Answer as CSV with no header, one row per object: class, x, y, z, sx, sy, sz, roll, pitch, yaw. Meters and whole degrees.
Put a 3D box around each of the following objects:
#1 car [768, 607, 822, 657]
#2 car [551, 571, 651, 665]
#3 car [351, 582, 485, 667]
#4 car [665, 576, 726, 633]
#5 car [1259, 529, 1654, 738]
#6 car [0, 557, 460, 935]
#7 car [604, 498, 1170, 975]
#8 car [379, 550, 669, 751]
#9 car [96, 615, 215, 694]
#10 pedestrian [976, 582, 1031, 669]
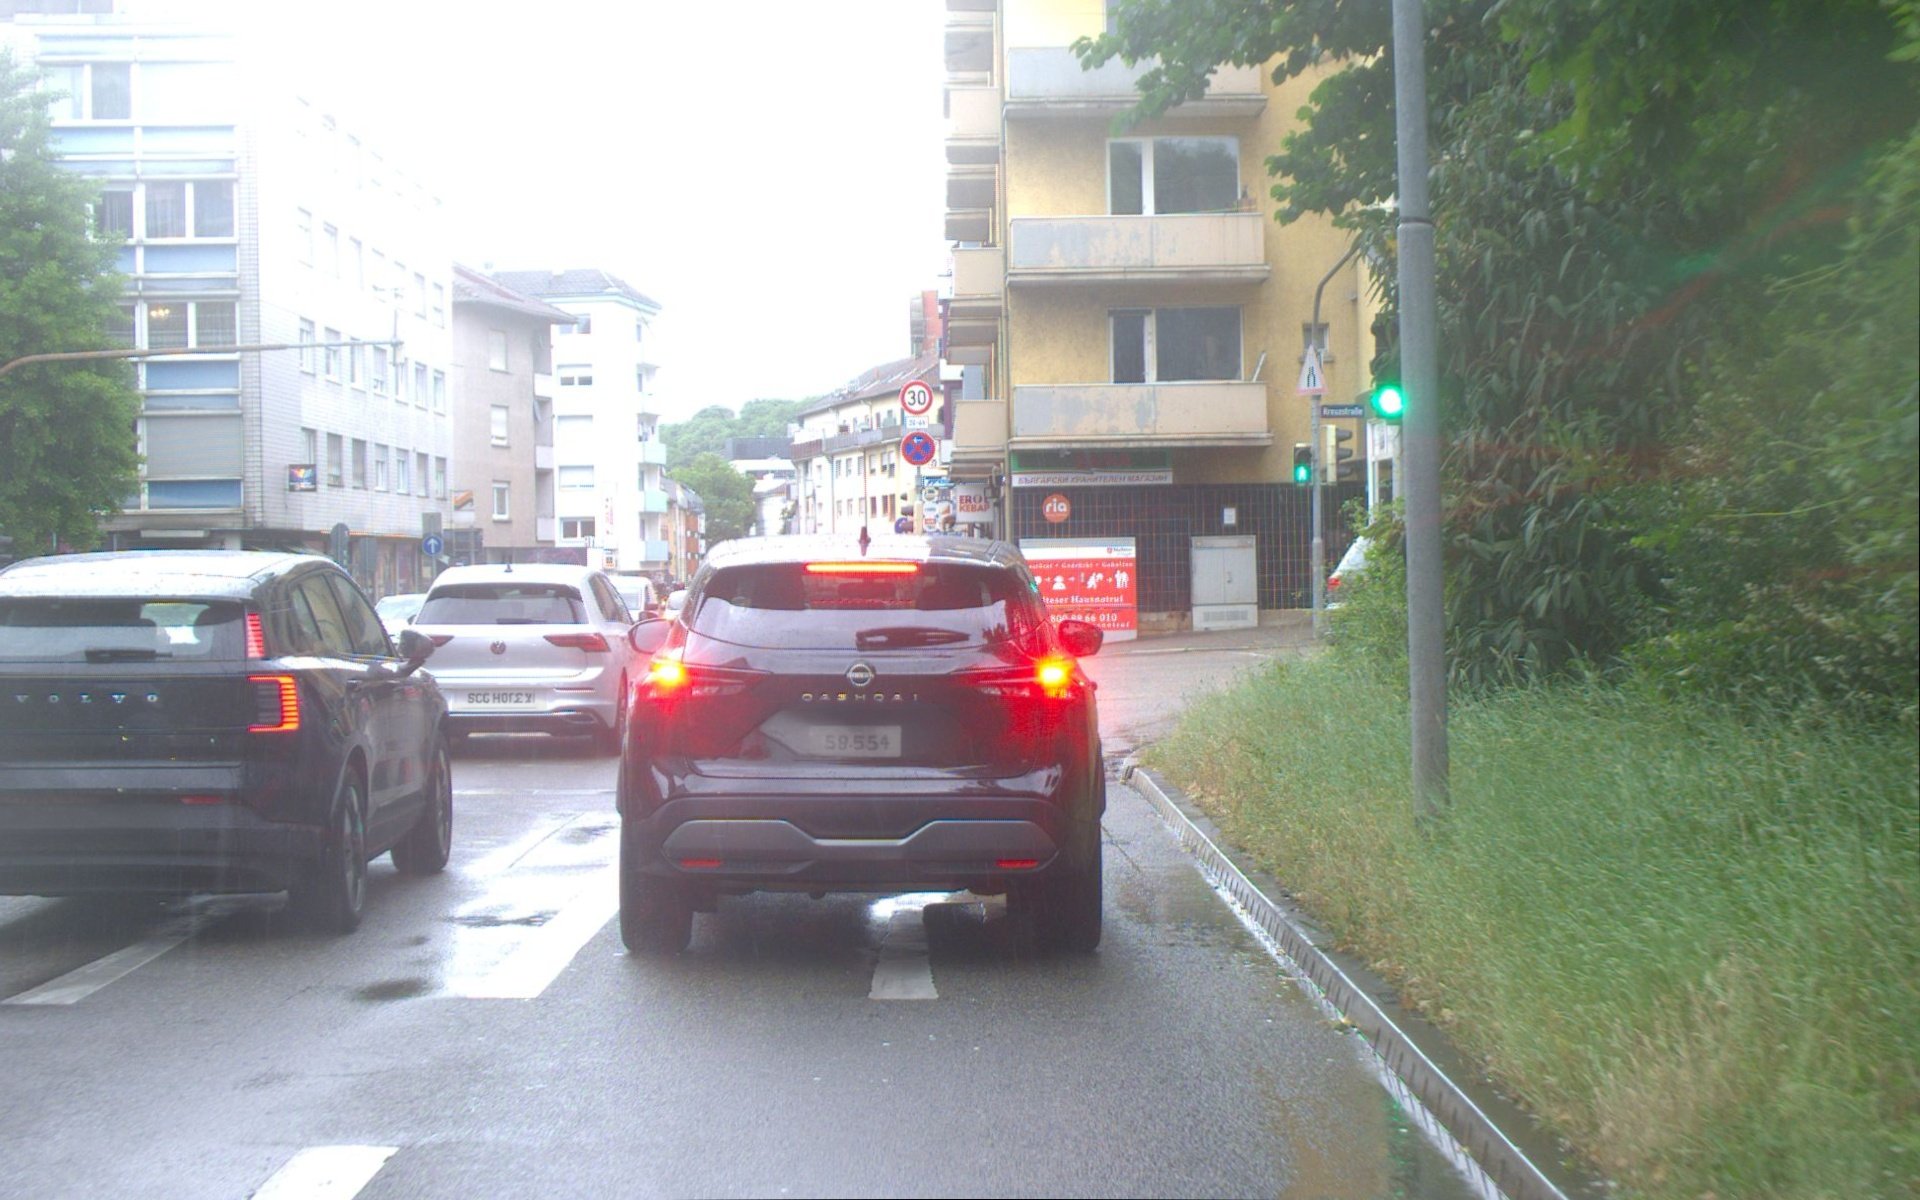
car,-7.090,1.365,148.019,1.993,2.007,4.000,-3,0,1
car,-7.341,0.353,70.597,1.779,1.809,4.406,-2,0,-4
car,-10.390,0.450,66.132,1.779,1.473,3.793,-4,0,2
car,-9.924,0.154,129.086,1.910,2.007,4.000,-3,0,0
car,5.147,0.298,35.380,3.989,2.007,1.999,-2,1,-45
car,-3.207,0.527,14.924,1.613,1.416,3.967,0,1,-2
car,-0.324,0.461,14.022,1.959,1.647,4.000,1,0,-2
car,-3.358,0.341,27.167,1.767,1.439,4.000,-1,1,0
car,-16.507,1.097,70.682,1.672,1.473,3.608,-2,0,-3
pedestrian,0.828,0.483,65.907,0.835,1.553,0.833,-7,0,-2
